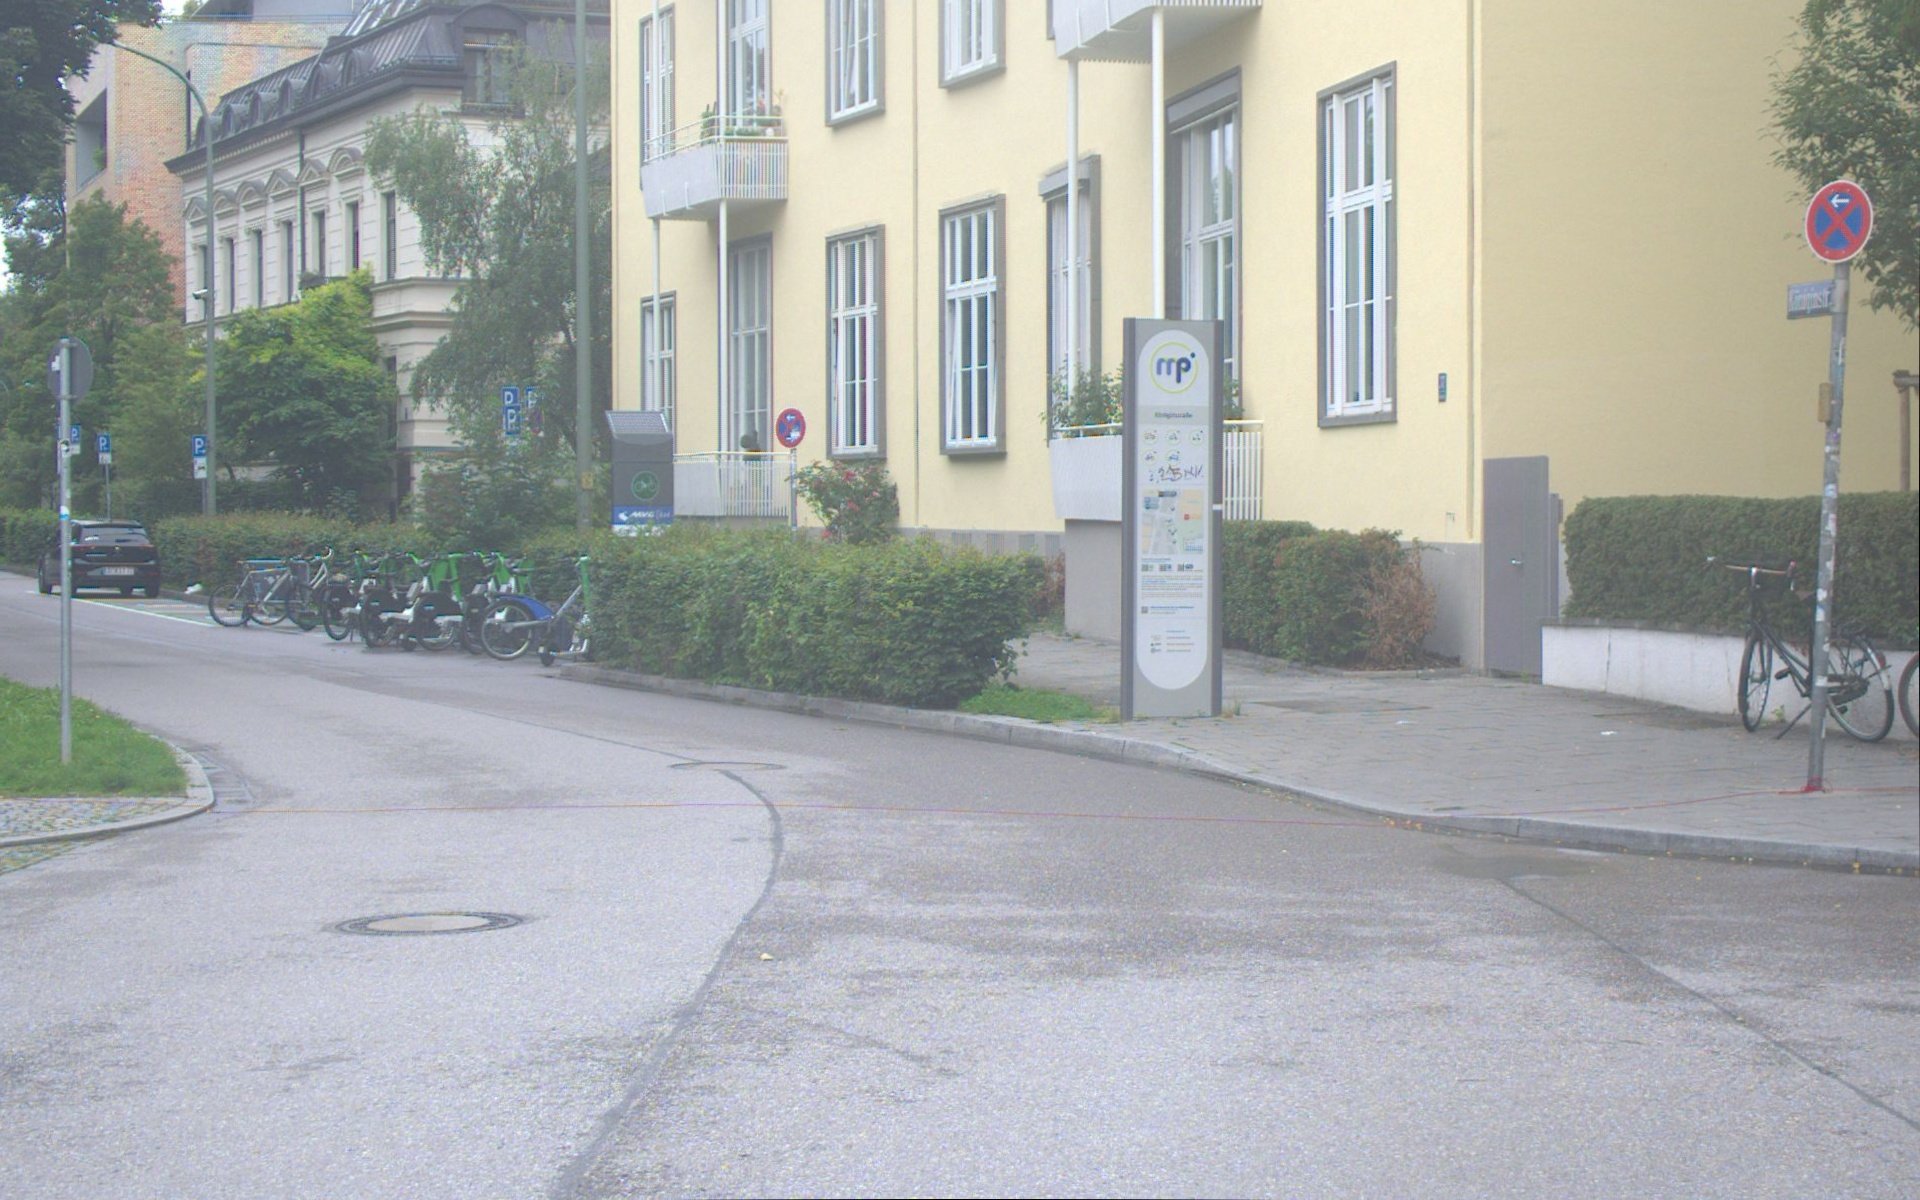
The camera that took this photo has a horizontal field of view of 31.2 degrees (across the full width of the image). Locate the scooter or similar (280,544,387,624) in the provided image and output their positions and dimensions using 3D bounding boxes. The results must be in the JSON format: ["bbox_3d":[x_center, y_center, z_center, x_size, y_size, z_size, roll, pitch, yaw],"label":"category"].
[{"bbox_3d":[-8.844,-0.232,48.527,1.405,1.084,0.597,-1,2,-4],"label":"scooter or similar"}]

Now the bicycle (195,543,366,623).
[{"bbox_3d":[-9.929,-0.260,50.289,2.331,1.082,0.693,-2,2,-27],"label":"bicycle"}]

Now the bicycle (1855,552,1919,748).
[{"bbox_3d":[6.125,0.296,19.284,0.608,1.113,2.217,-1,2,-39],"label":"bicycle"}]

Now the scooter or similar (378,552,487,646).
[{"bbox_3d":[-6.349,-0.019,41.428,0.496,1.084,1.407,0,2,31],"label":"scooter or similar"}]

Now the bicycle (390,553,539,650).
[{"bbox_3d":[-5.903,0.012,41.037,0.577,1.082,1.930,0,2,35],"label":"bicycle"}]

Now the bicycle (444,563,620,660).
[{"bbox_3d":[-4.749,0.120,38.186,1.822,1.002,0.578,-2,2,-24],"label":"bicycle"}]

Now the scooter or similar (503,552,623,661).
[{"bbox_3d":[-4.247,0.063,36.853,0.496,1.105,1.407,0,2,31],"label":"scooter or similar"}]

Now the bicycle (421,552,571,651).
[{"bbox_3d":[-5.444,0.005,40.440,0.577,1.082,1.930,0,2,35],"label":"bicycle"}]

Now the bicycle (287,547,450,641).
[{"bbox_3d":[-7.303,-0.090,42.572,0.697,1.082,2.335,0,2,27],"label":"bicycle"}]

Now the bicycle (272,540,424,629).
[{"bbox_3d":[-7.886,-0.210,44.388,0.763,1.082,2.138,0,2,27],"label":"bicycle"}]

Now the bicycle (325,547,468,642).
[{"bbox_3d":[-6.835,-0.077,41.807,0.638,1.082,1.983,0,2,27],"label":"bicycle"}]

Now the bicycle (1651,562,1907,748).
[{"bbox_3d":[5.109,0.315,21.603,0.608,1.069,2.218,-2,2,-14],"label":"bicycle"}]

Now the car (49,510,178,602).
[{"bbox_3d":[-15.915,-0.845,64.485,1.863,1.628,4.285,-2,2,-20],"label":"car"}]
